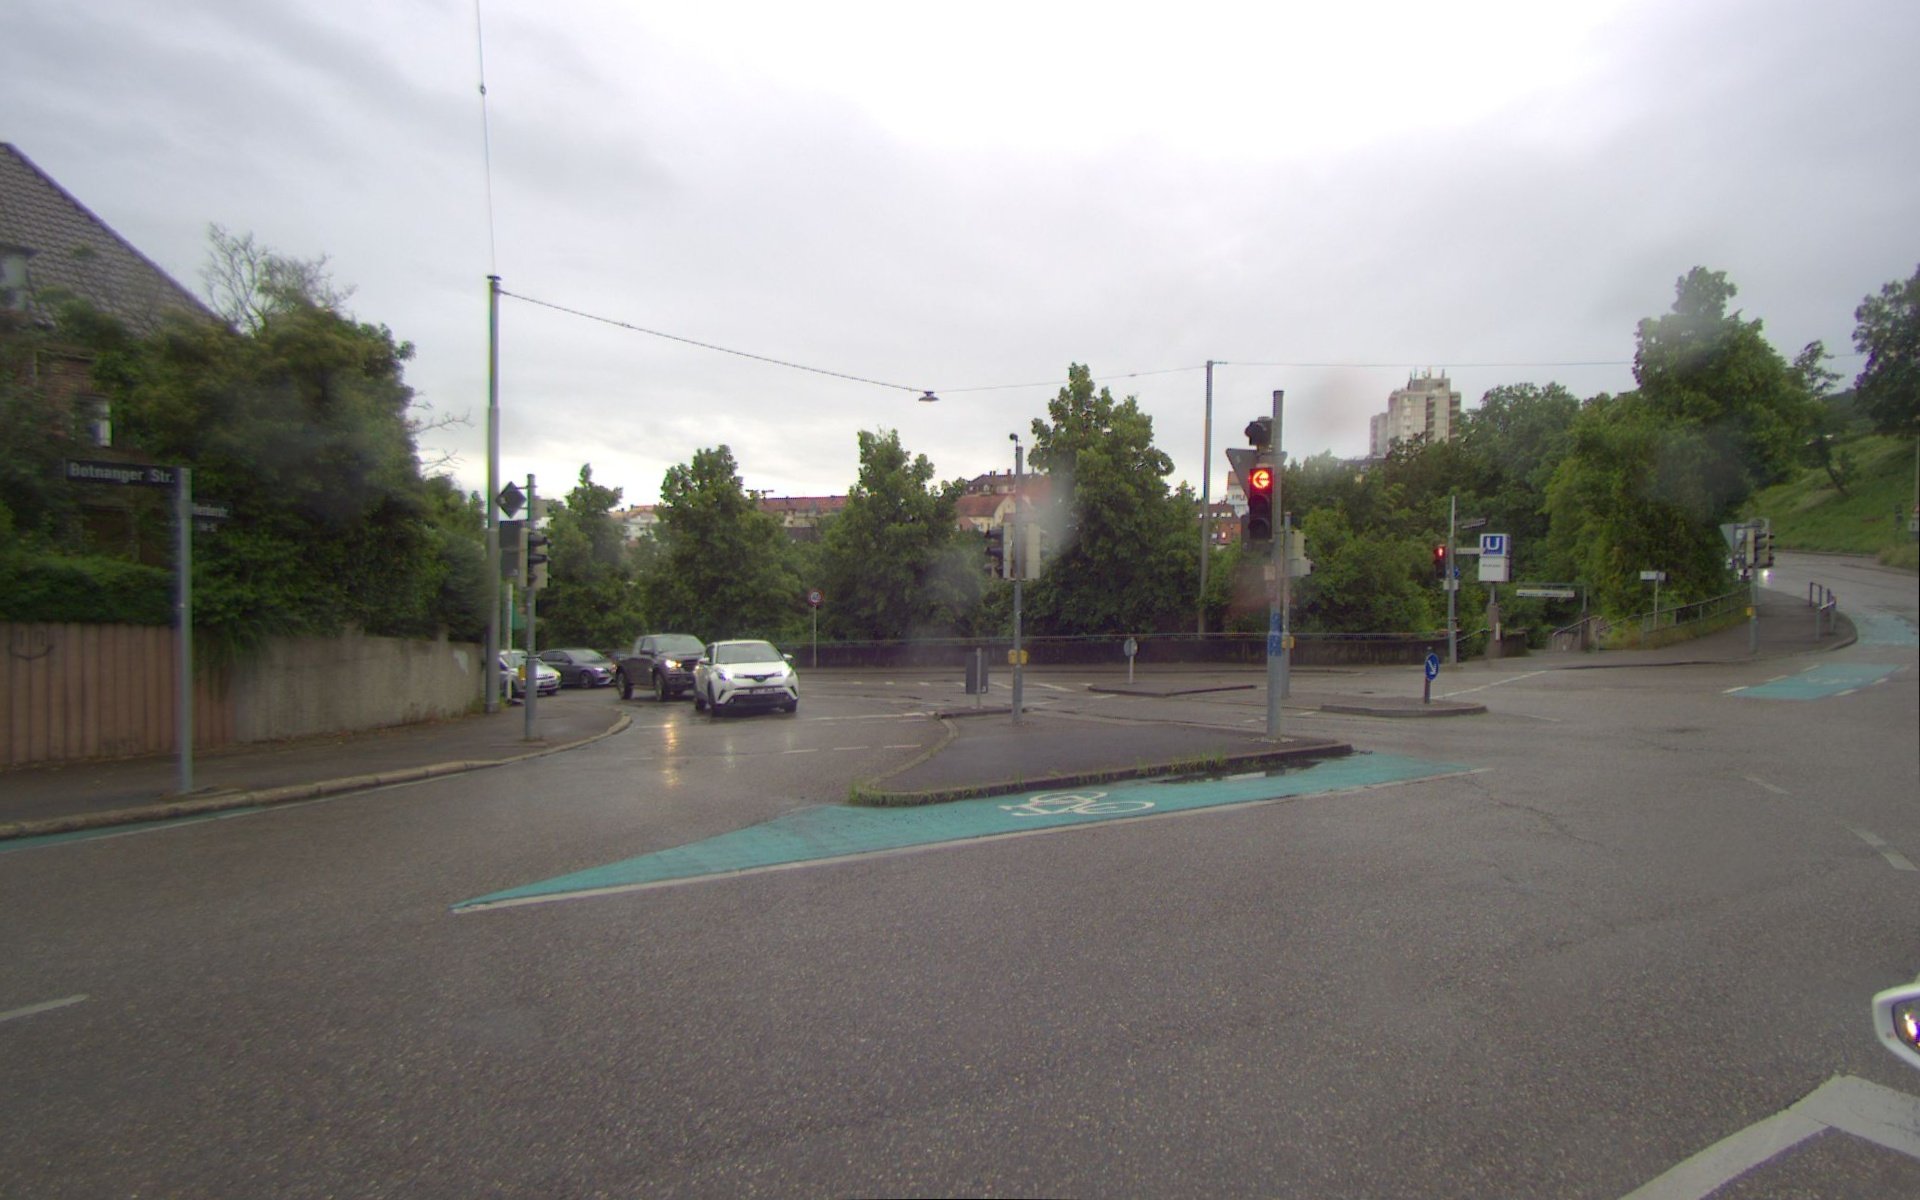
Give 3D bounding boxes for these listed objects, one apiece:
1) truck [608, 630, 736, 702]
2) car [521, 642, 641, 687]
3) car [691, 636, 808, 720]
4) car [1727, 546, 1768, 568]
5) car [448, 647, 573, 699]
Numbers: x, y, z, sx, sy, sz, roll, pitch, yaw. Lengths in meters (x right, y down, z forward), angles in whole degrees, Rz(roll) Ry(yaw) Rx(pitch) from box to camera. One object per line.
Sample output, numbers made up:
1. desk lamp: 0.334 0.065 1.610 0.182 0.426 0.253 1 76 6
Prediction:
1. truck: -8.339 1.908 28.758 1.890 1.809 4.940 -2 -3 -36
2. car: -14.243 2.427 37.721 4.413 1.527 1.975 -3 -1 33
3. car: -4.606 1.631 21.605 1.810 1.527 3.866 -2 -2 -21
4. car: 56.401 -3.067 71.917 1.935 1.532 4.379 2 3 42
5. car: -15.661 2.523 34.954 4.238 1.653 1.853 -2 -1 31
